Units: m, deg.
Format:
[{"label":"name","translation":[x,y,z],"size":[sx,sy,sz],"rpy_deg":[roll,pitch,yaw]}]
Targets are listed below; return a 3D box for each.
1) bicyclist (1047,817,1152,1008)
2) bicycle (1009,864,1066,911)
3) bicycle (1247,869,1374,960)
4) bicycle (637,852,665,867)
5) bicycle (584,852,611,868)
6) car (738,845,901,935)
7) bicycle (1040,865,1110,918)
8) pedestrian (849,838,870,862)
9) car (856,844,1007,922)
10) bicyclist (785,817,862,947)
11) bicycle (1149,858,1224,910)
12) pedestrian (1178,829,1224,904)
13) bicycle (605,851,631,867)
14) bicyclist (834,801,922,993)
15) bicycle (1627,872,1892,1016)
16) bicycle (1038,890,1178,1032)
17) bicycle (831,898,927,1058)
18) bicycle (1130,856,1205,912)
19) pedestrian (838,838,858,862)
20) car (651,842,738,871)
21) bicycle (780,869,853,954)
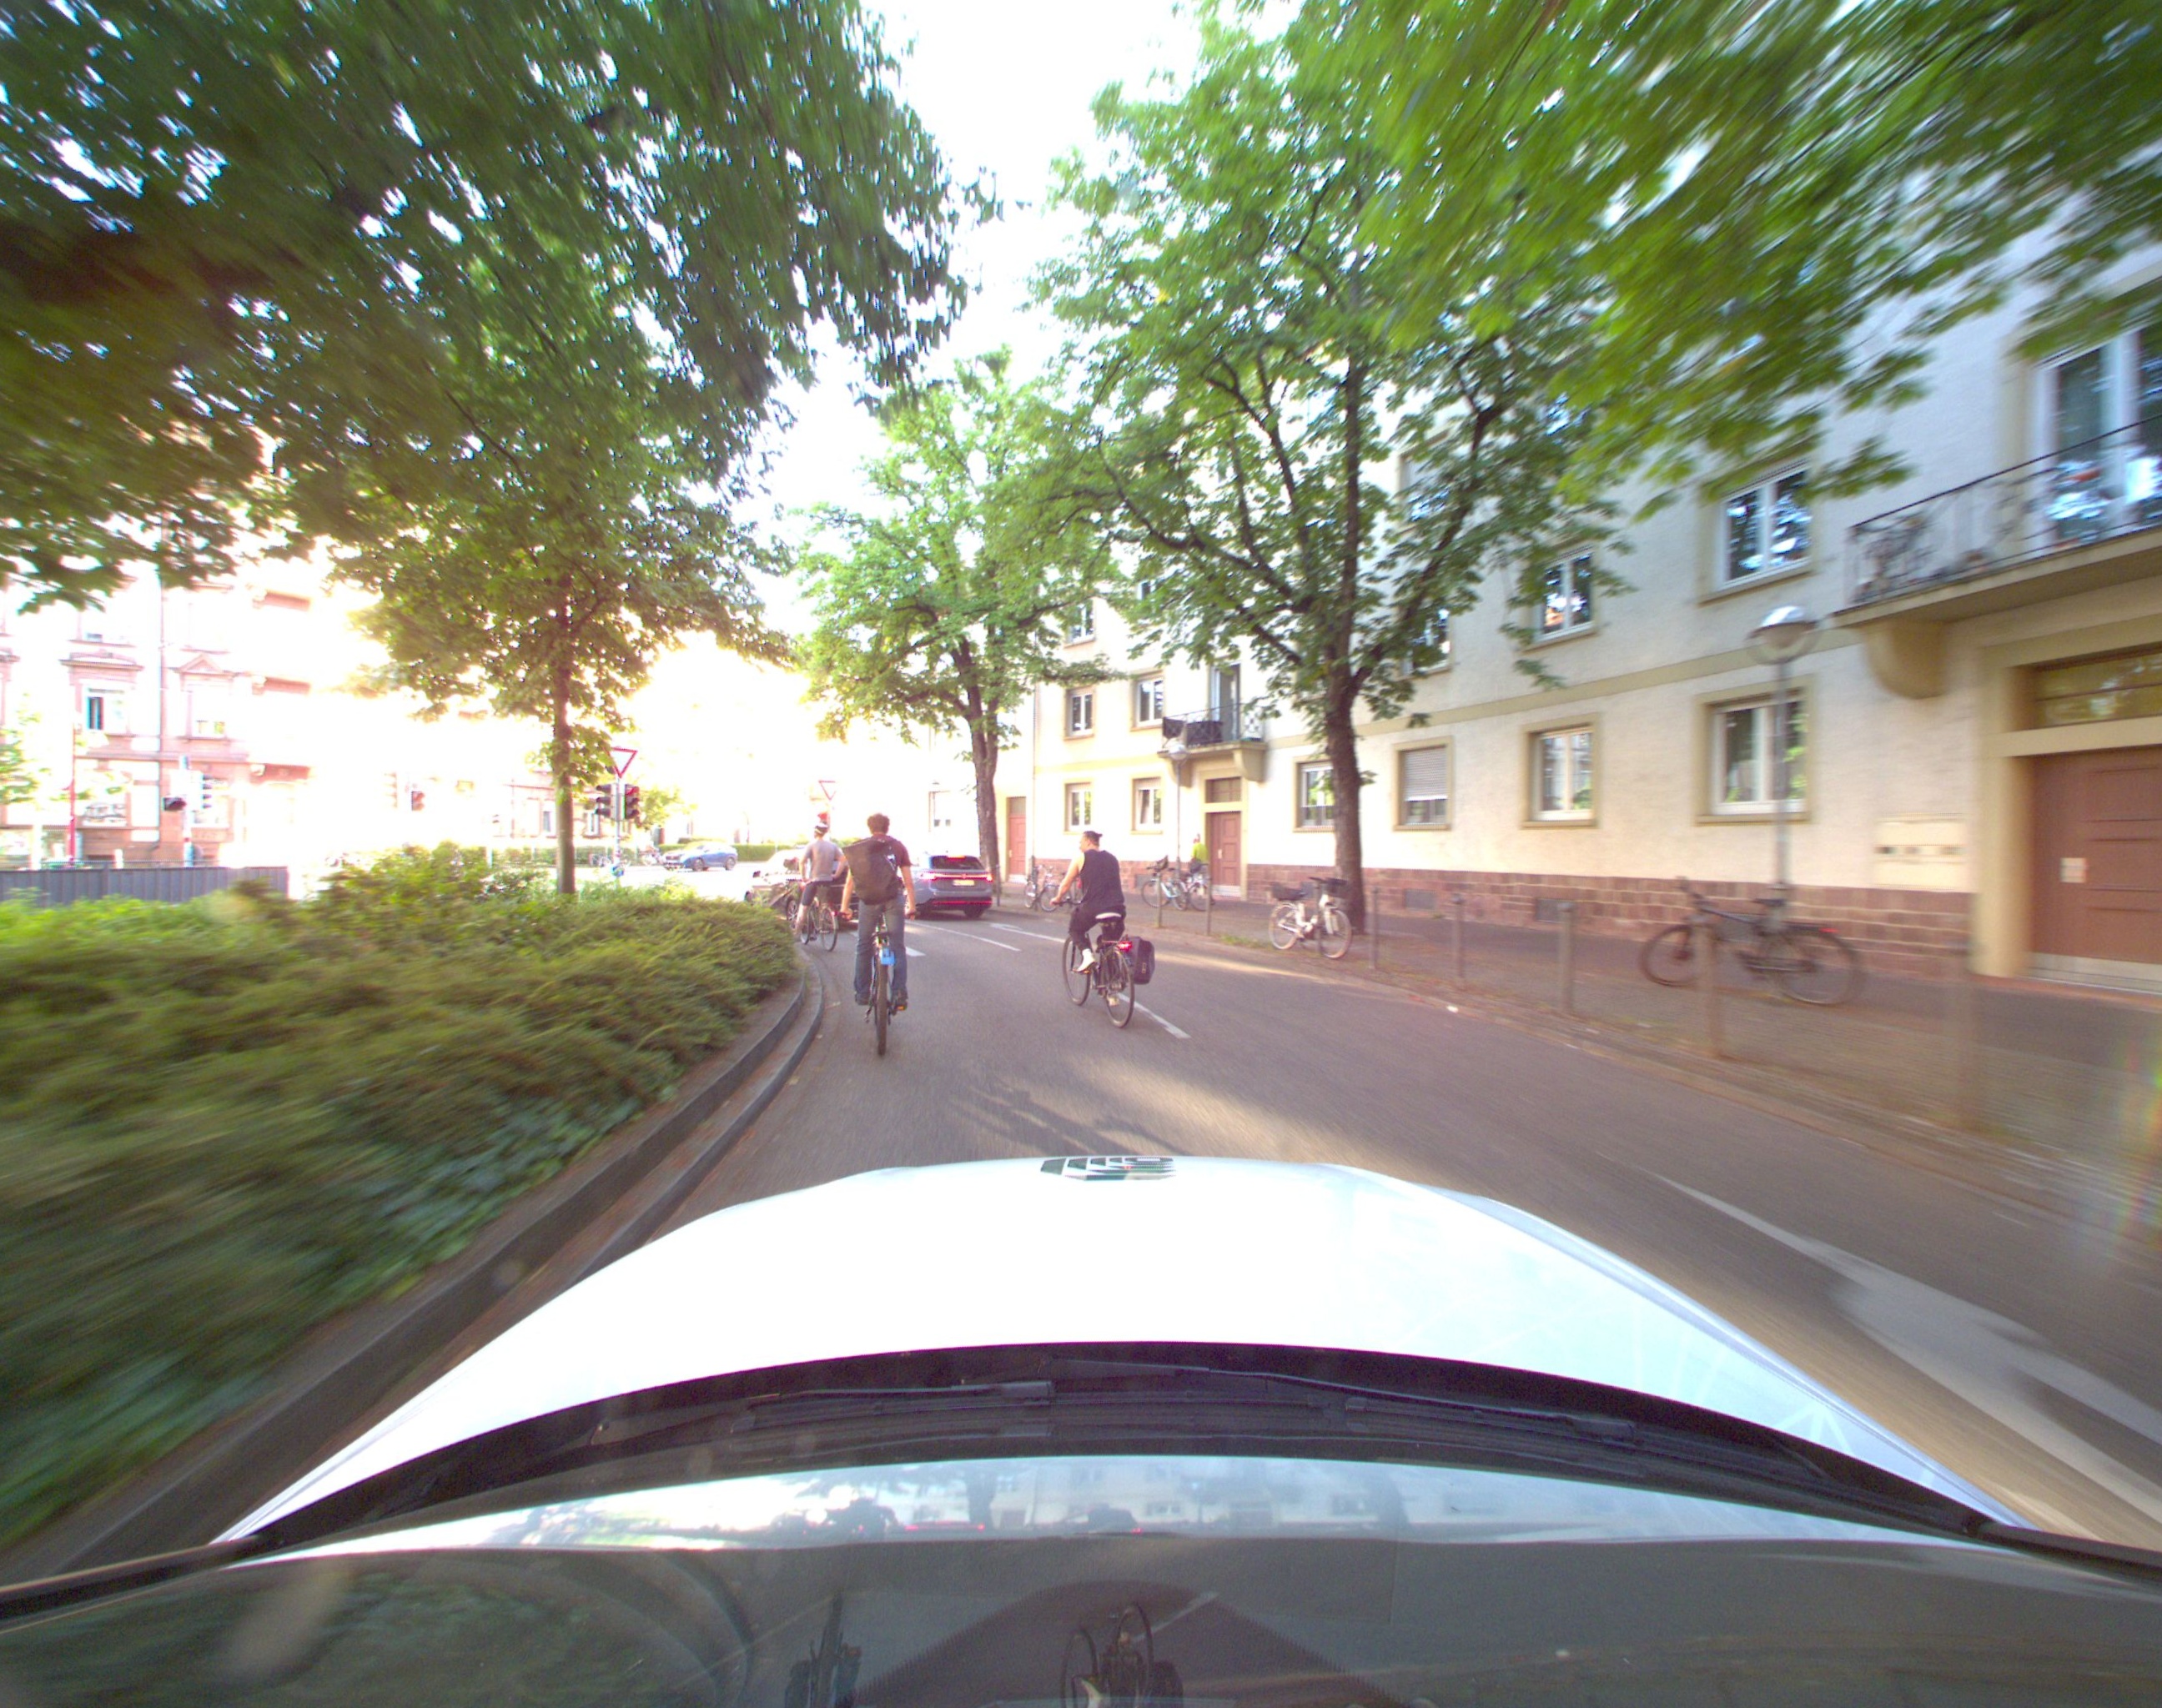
[{"label":"bicyclist","translation":[0.150,0.510,7.690],"size":[0.754,1.682,0.908],"rpy_deg":[0,0,-16]},{"label":"bicycle","translation":[-1.070,0.765,19.452],"size":[0.523,0.999,2.172],"rpy_deg":[0,0,-27]},{"label":"bicycle","translation":[3.239,0.812,11.709],"size":[0.619,1.112,1.977],"rpy_deg":[-3,2,-23]},{"label":"bicycle","translation":[-25.775,0.313,48.788],"size":[0.445,0.861,1.456],"rpy_deg":[1,0,29]},{"label":"bicycle","translation":[-26.909,0.315,45.301],"size":[0.445,0.861,1.231],"rpy_deg":[1,0,29]},{"label":"car","translation":[-5.361,0.626,16.406],"size":[1.828,1.543,3.913],"rpy_deg":[-2,1,-39]},{"label":"bicycle","translation":[-0.163,0.805,18.153],"size":[0.620,1.058,1.909],"rpy_deg":[-2,2,-32]},{"label":"pedestrian","translation":[-18.397,-0.307,67.599],"size":[1.151,1.962,1.391],"rpy_deg":[1,0,9]},{"label":"car","translation":[-3.559,0.583,18.900],"size":[1.906,1.577,3.956],"rpy_deg":[0,1,-36]},{"label":"bicyclist","translation":[-4.004,0.397,12.626],"size":[0.857,1.898,1.127],"rpy_deg":[0,1,-35]},{"label":"bicycle","translation":[2.433,0.673,19.042],"size":[0.585,1.114,2.097],"rpy_deg":[-1,1,-30]},{"label":"pedestrian","translation":[2.958,0.285,20.065],"size":[0.651,1.795,1.003],"rpy_deg":[0,1,45]},{"label":"bicycle","translation":[-26.388,0.277,46.398],"size":[0.445,0.861,1.231],"rpy_deg":[1,0,29]},{"label":"bicyclist","translation":[-1.737,0.339,7.028],"size":[0.672,1.514,1.064],"rpy_deg":[0,0,-13]},{"label":"bicycle","translation":[6.420,0.786,7.817],"size":[0.676,1.182,1.803],"rpy_deg":[-2,0,-32]},{"label":"bicycle","translation":[0.179,0.920,7.721],"size":[0.739,1.012,2.050],"rpy_deg":[-1,1,-16]},{"label":"bicycle","translation":[-1.710,0.948,6.942],"size":[0.675,1.054,2.051],"rpy_deg":[0,-1,-13]},{"label":"bicycle","translation":[1.948,0.648,18.685],"size":[0.497,1.172,2.096],"rpy_deg":[-4,2,-31]},{"label":"pedestrian","translation":[-19.590,-0.348,68.445],"size":[1.151,1.962,1.391],"rpy_deg":[1,0,9]},{"label":"car","translation":[-21.231,0.139,44.965],"size":[1.979,1.496,4.392],"rpy_deg":[1,0,15]},{"label":"bicycle","translation":[-4.177,0.851,12.757],"size":[0.601,1.161,2.021],"rpy_deg":[0,0,-32]}]
